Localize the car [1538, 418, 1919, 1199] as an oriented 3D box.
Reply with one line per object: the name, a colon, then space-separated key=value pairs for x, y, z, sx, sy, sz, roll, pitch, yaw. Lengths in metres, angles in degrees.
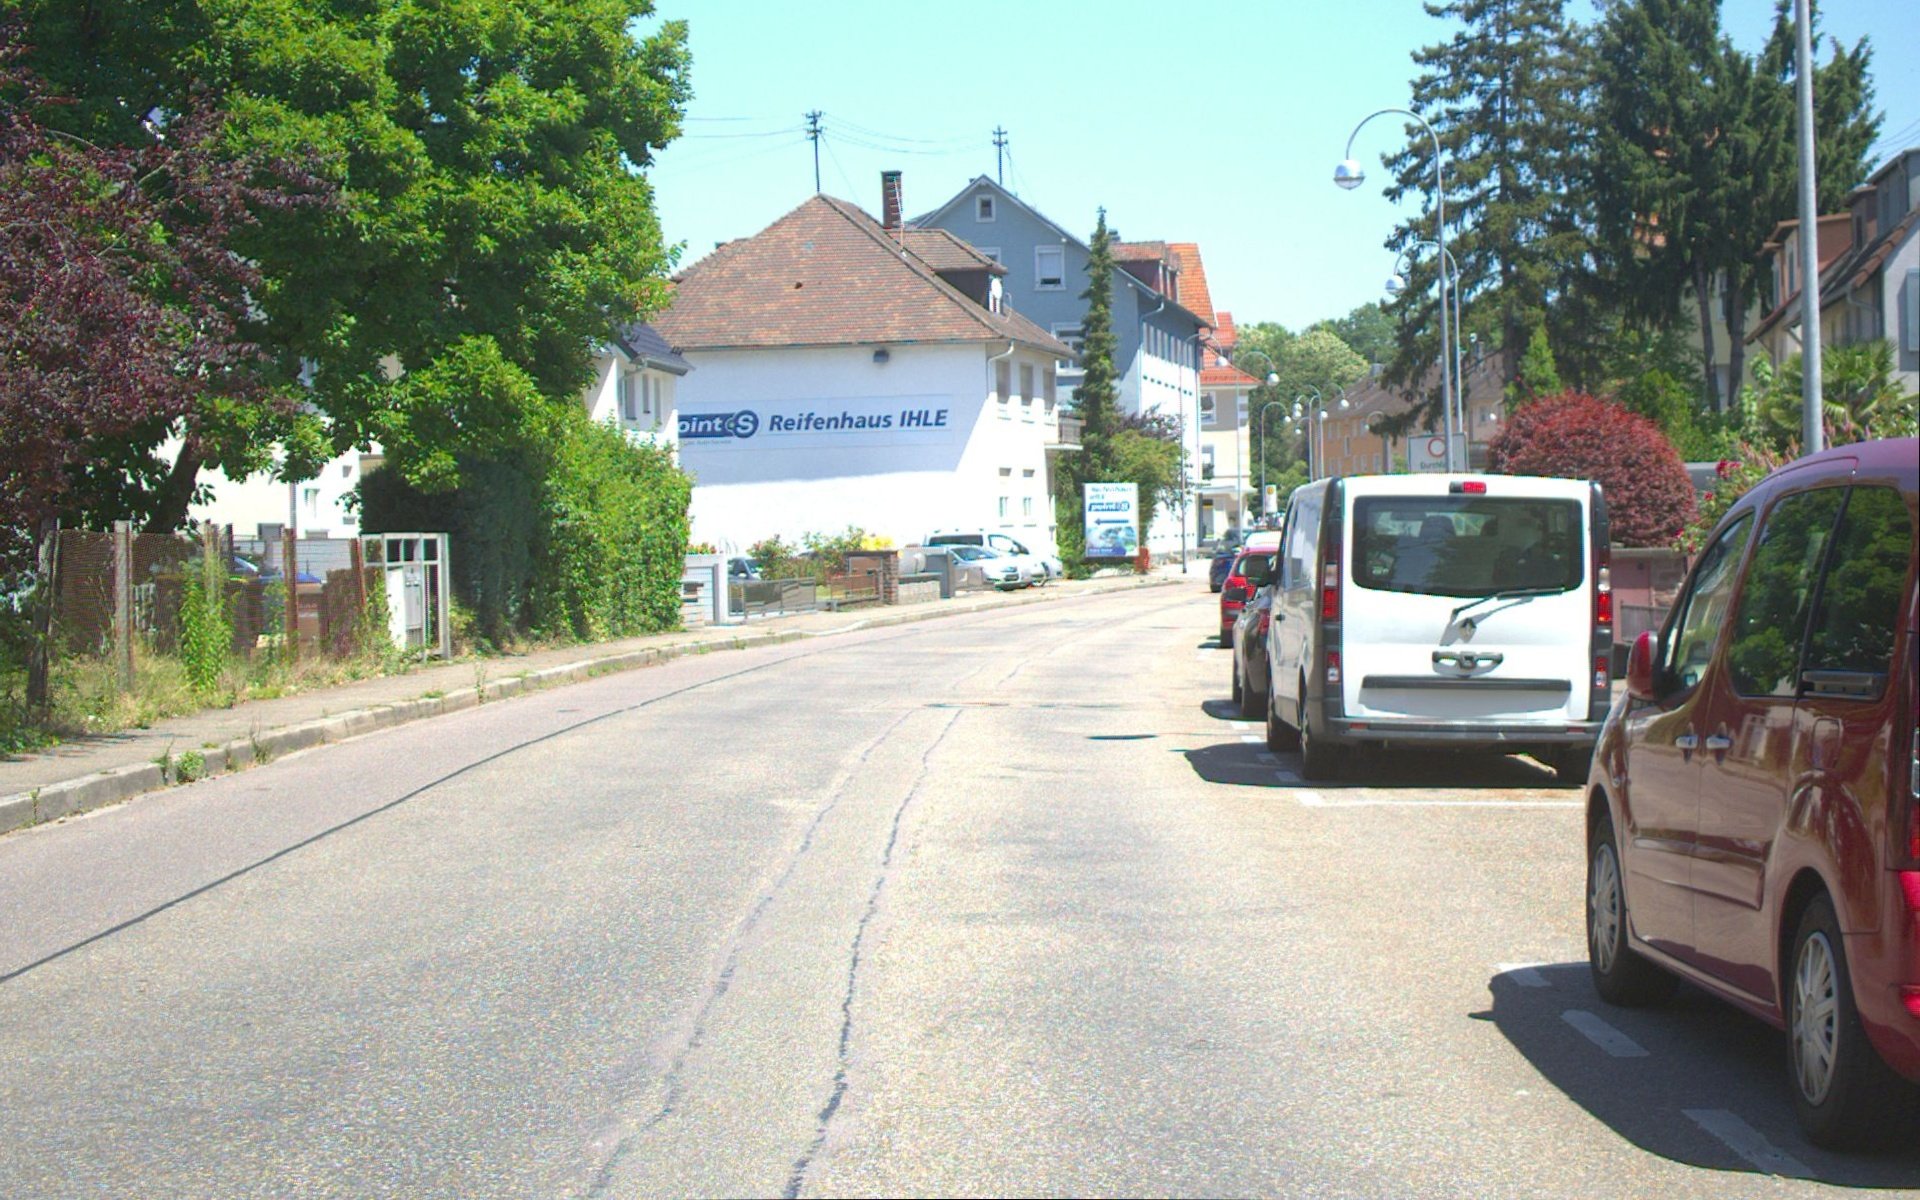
car: x=2.950 y=0.451 z=9.713 sx=1.903 sy=1.722 sz=4.391 roll=1 pitch=1 yaw=1

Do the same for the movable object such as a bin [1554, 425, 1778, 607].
movable object such as a bin: x=10.764 y=-1.281 z=52.562 sx=3.146 sy=2.737 sz=1.707 roll=0 pitch=1 yaw=4

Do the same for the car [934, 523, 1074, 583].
car: x=1.362 y=-1.458 z=105.536 sx=4.129 sy=1.768 sz=1.828 roll=-1 pitch=1 yaw=5

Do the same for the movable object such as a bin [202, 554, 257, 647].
movable object such as a bin: x=-7.944 y=0.000 z=37.395 sx=0.467 sy=1.006 sz=0.506 roll=0 pitch=1 yaw=2

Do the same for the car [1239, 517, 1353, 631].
car: x=5.485 y=-0.421 z=55.851 sx=1.664 sy=1.749 sz=3.999 roll=2 pitch=0 yaw=8

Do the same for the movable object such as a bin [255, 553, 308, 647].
movable object such as a bin: x=-7.378 y=-0.002 z=37.392 sx=0.467 sy=1.006 sz=0.506 roll=0 pitch=1 yaw=2

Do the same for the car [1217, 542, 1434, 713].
car: x=3.181 y=0.197 z=30.535 sx=1.656 sy=1.393 sz=4.000 roll=0 pitch=1 yaw=2

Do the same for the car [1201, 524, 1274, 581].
car: x=7.595 y=-1.316 z=93.964 sx=1.795 sy=1.505 sz=3.999 roll=1 pitch=1 yaw=7

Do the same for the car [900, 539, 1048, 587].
car: x=0.390 y=-1.084 z=100.450 sx=4.139 sy=1.339 sz=1.906 roll=0 pitch=2 yaw=43

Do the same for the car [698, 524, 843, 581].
car: x=-5.276 y=-1.340 z=95.372 sx=1.795 sy=1.505 sz=3.998 roll=-2 pitch=3 yaw=-45

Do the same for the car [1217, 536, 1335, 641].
car: x=4.691 y=-0.203 z=50.795 sx=1.664 sy=1.450 sz=3.999 roll=0 pitch=1 yaw=6

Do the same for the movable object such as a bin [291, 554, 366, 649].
movable object such as a bin: x=-6.730 y=0.013 z=36.664 sx=0.708 sy=0.993 sz=0.474 roll=-1 pitch=1 yaw=0

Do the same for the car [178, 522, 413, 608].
car: x=-12.080 y=-0.642 z=62.690 sx=3.986 sy=1.505 sz=1.800 roll=1 pitch=1 yaw=-3

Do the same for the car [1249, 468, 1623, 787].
car: x=3.077 y=0.117 z=23.146 sx=1.903 sy=1.918 sz=4.719 roll=0 pitch=1 yaw=1
